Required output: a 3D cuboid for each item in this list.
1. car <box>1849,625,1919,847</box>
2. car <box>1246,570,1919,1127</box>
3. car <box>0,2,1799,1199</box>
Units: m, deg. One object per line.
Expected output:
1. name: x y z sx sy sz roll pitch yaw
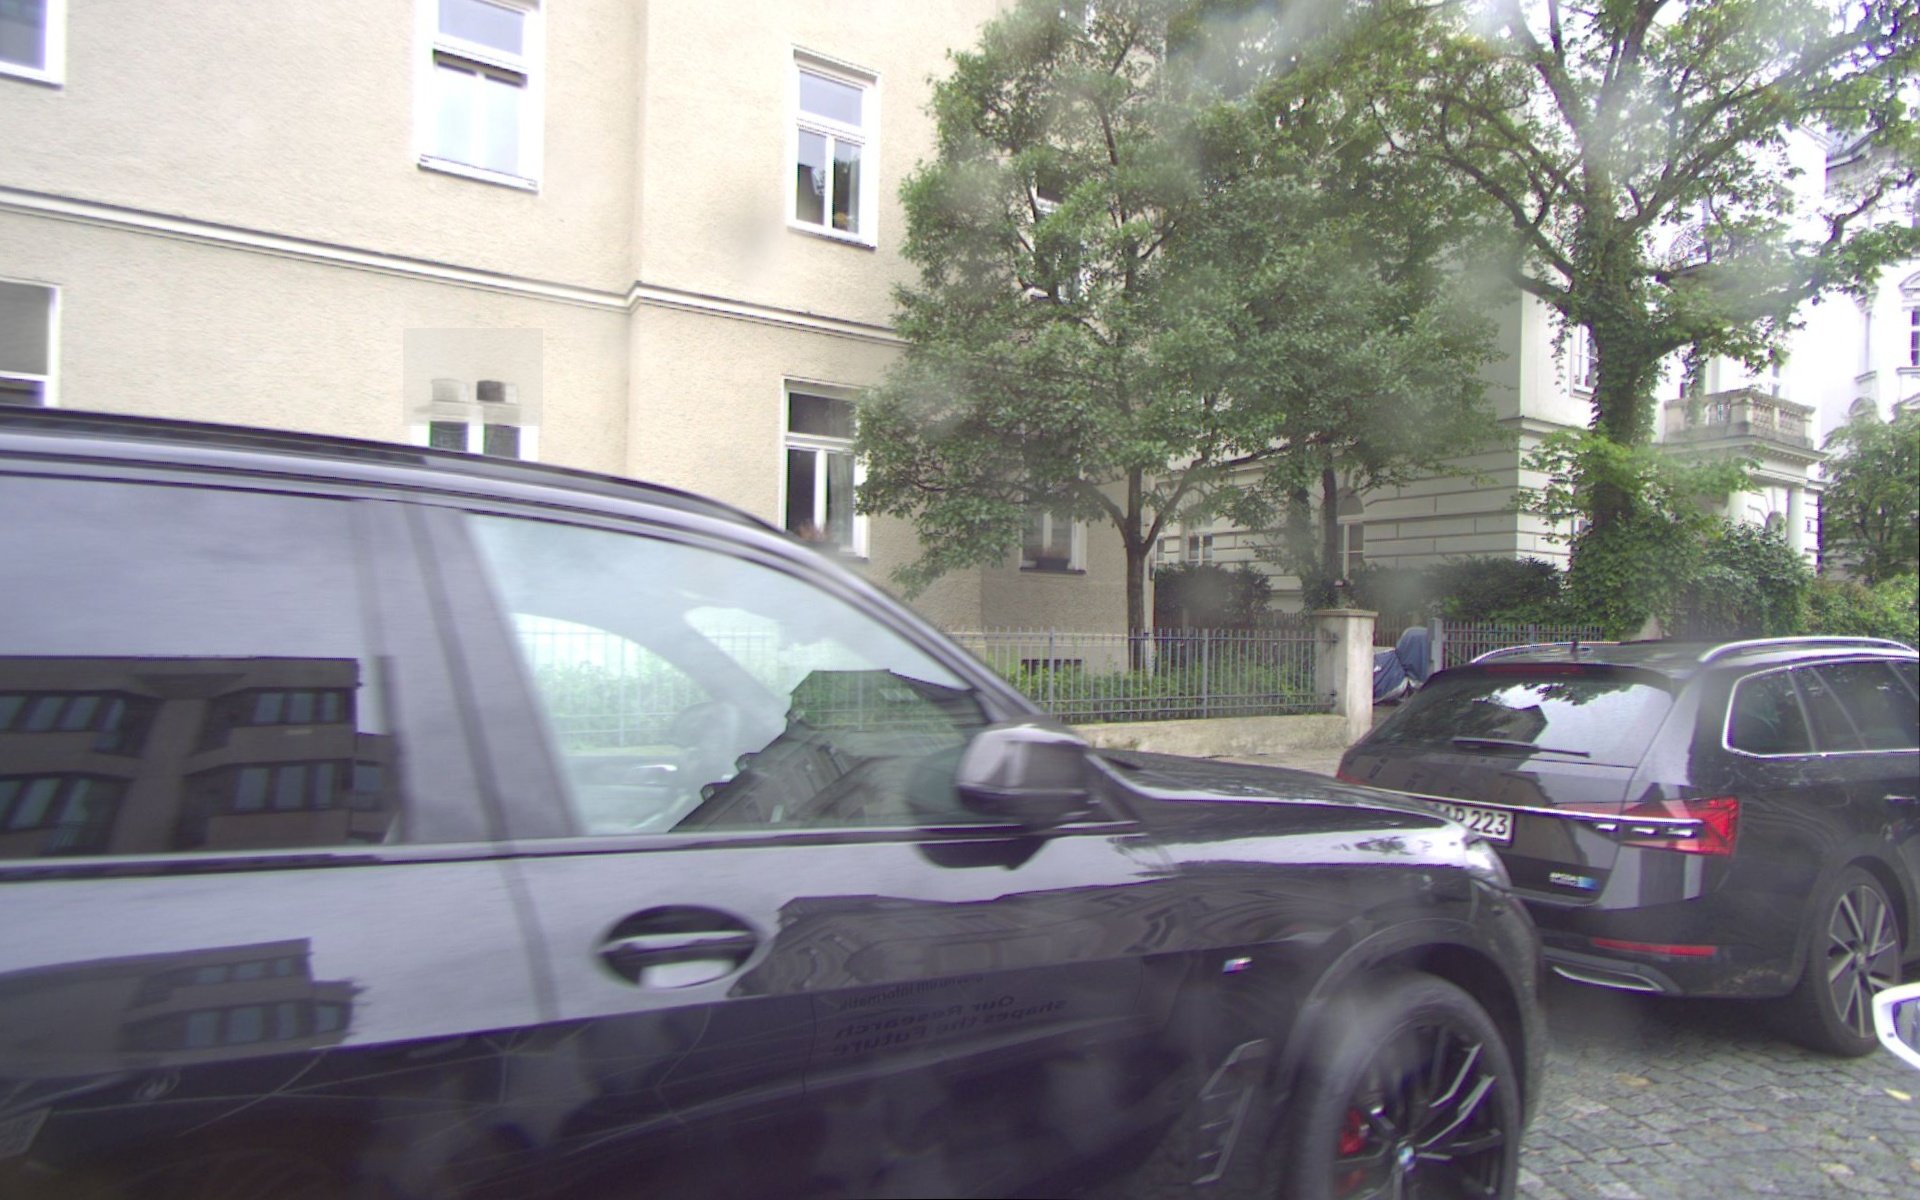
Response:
1. car: 8.320 0.947 7.403 4.127 1.463 1.652 2 -2 -34
2. car: 3.933 0.794 4.963 4.957 1.581 1.970 2 -2 -29
3. car: -0.589 0.546 2.078 5.118 1.942 1.983 2 -4 -31
